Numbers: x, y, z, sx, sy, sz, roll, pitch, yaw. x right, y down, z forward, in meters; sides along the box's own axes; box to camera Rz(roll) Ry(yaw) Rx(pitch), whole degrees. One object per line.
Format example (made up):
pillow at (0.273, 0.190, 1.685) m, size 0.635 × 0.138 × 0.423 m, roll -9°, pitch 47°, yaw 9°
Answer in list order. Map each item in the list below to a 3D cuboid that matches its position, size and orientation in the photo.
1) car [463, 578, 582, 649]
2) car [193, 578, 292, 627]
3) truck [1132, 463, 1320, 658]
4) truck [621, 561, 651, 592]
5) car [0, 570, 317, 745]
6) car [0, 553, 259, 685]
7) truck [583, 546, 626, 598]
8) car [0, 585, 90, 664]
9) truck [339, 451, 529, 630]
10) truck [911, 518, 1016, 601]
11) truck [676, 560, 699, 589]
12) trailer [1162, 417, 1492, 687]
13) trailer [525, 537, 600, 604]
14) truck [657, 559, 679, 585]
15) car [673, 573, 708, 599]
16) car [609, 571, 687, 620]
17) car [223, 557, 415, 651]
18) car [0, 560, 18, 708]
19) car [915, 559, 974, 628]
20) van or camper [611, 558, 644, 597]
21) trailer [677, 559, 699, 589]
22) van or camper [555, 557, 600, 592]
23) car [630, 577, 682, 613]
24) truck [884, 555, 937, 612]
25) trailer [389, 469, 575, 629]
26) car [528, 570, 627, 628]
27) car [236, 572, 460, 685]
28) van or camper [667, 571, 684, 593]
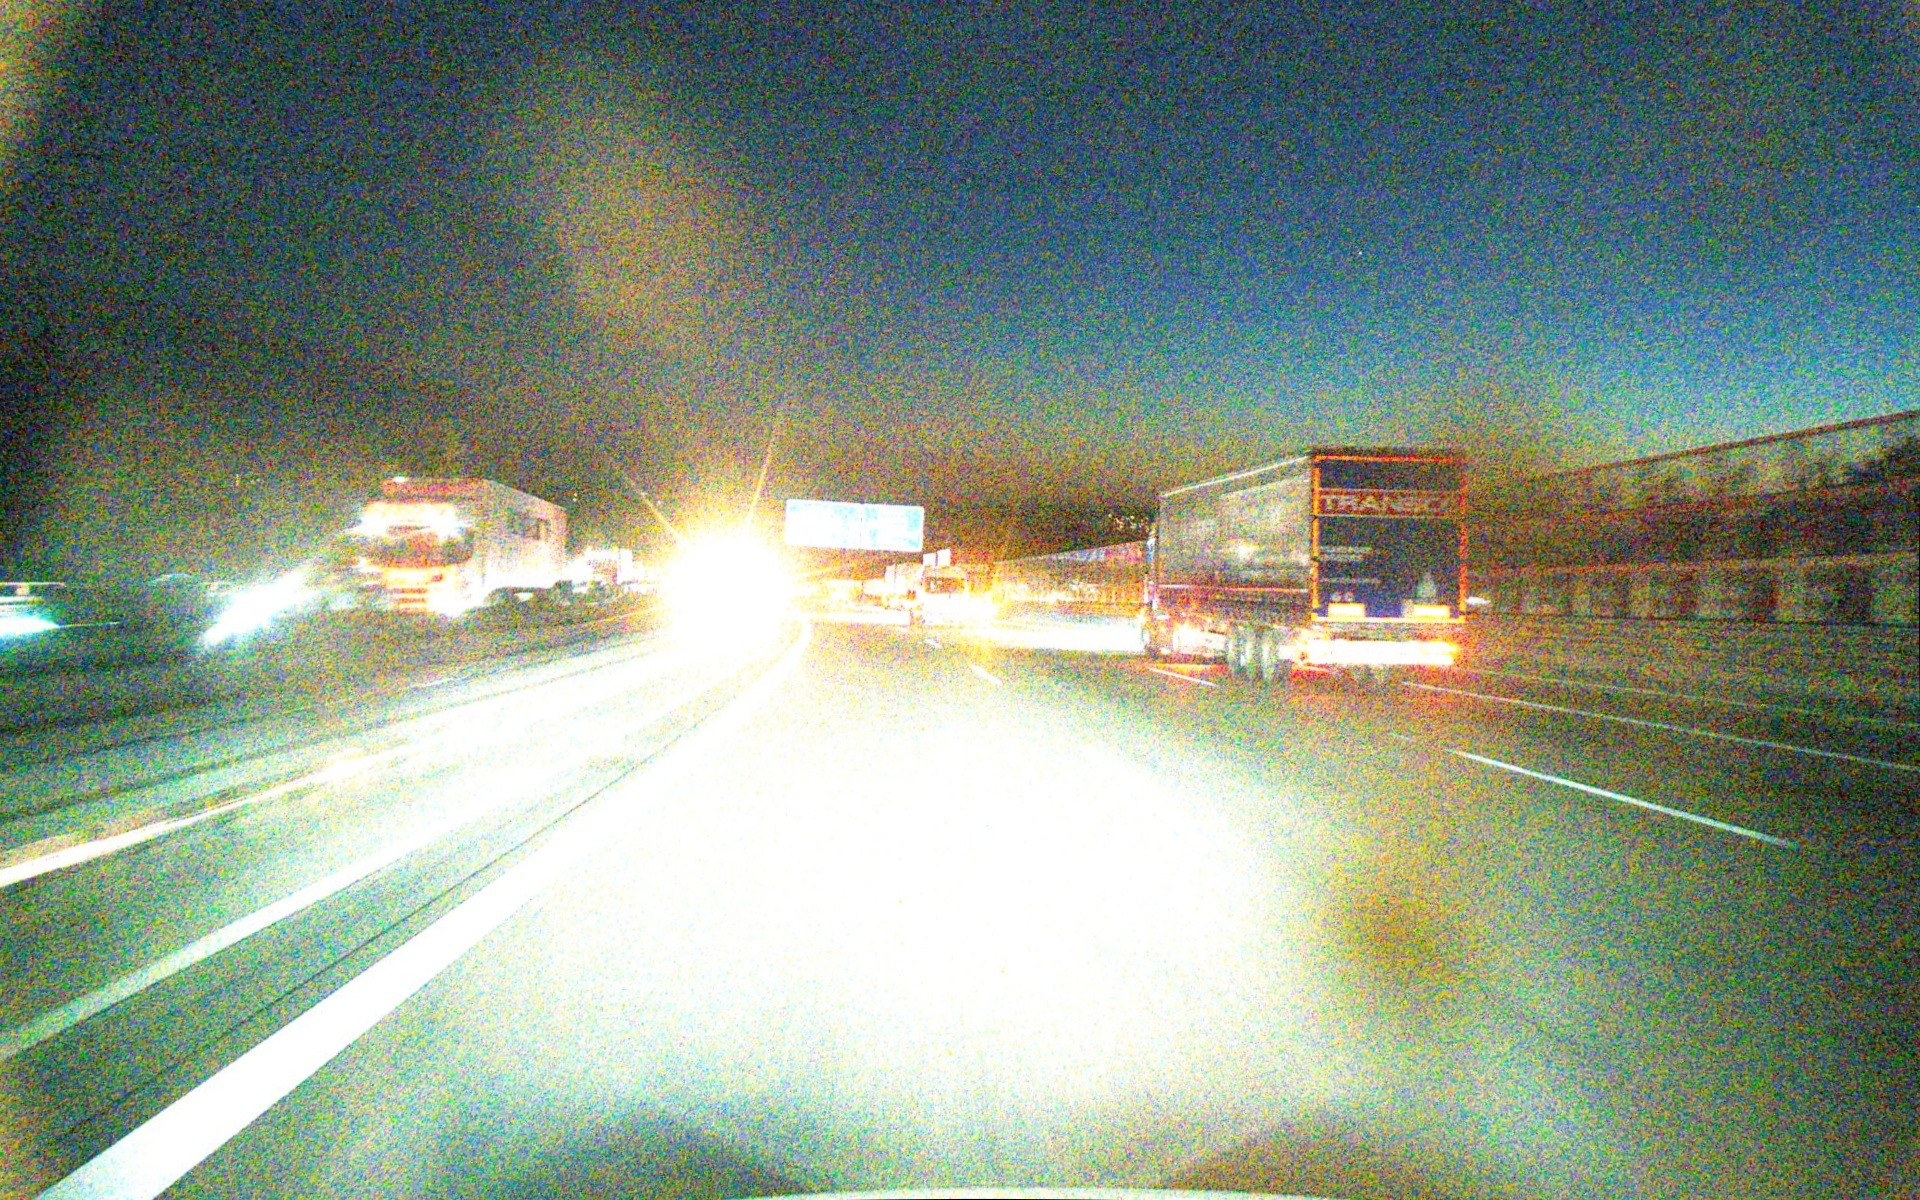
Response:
car at (-9.481, 0.257, 36.181) m, size 1.669 × 1.451 × 4.509 m, roll 0°, pitch 0°, yaw -4°
car at (-22.706, 0.066, 52.470) m, size 1.620 × 1.503 × 3.773 m, roll 1°, pitch 0°, yaw -3°
truck at (6.106, -0.868, 39.258) m, size 2.805 × 4.148 × 7.505 m, roll 1°, pitch 0°, yaw -3°
truck at (-34.099, -2.437, 174.261) m, size 2.508 × 3.038 × 7.438 m, roll 2°, pitch -1°, yaw -8°
car at (-8.072, 0.469, 16.255) m, size 1.874 × 1.468 × 4.647 m, roll 0°, pitch 0°, yaw -3°
car at (-12.883, 0.255, 25.673) m, size 1.953 × 1.842 × 4.748 m, roll 0°, pitch 0°, yaw 0°
truck at (-26.033, -2.030, 121.285) m, size 2.358 × 3.575 × 6.713 m, roll 3°, pitch 0°, yaw -7°
car at (-20.425, 0.491, 35.416) m, size 1.191 × 1.624 × 4.513 m, roll 0°, pitch 1°, yaw 0°
truck at (-13.814, -1.422, 44.114) m, size 3.048 × 4.168 × 7.068 m, roll 4°, pitch -1°, yaw -5°
truck at (-0.087, -2.301, 105.703) m, size 3.842 × 4.708 × 20.979 m, roll 0°, pitch 0°, yaw -8°
truck at (-38.031, -3.560, 231.041) m, size 2.821 × 3.737 × 6.766 m, roll 4°, pitch -1°, yaw -9°
trailer at (6.497, -0.791, 32.181) m, size 2.797 × 4.138 × 13.197 m, roll 1°, pitch 0°, yaw -3°
trailer at (-21.828, -1.539, 91.259) m, size 2.556 × 3.231 × 8.993 m, roll 4°, pitch -1°, yaw -5°
truck at (-43.798, -4.197, 247.915) m, size 2.825 × 3.737 × 6.031 m, roll 3°, pitch 0°, yaw -13°
car at (-15.221, -0.779, 93.541) m, size 1.539 × 1.378 × 3.997 m, roll 2°, pitch 0°, yaw -3°
car at (-10.736, -0.156, 57.185) m, size 1.837 × 1.450 × 4.511 m, roll 6°, pitch 0°, yaw -2°
car at (-13.582, 0.055, 35.464) m, size 1.953 × 1.842 × 5.486 m, roll 0°, pitch 0°, yaw 0°
car at (-12.291, 0.408, 17.674) m, size 1.908 × 1.766 × 4.746 m, roll 0°, pitch 0°, yaw -3°
car at (-0.696, -0.220, 69.909) m, size 2.290 × 2.686 × 5.245 m, roll 2°, pitch -1°, yaw -1°
van or camper at (-30.399, -2.032, 151.278) m, size 2.387 × 3.329 × 7.381 m, roll 2°, pitch 0°, yaw -8°
trailer at (-38.944, -3.670, 237.330) m, size 2.833 × 3.735 × 12.190 m, roll 4°, pitch -1°, yaw -9°
van or camper at (-23.761, -1.558, 103.056) m, size 2.147 × 2.049 × 7.626 m, roll 2°, pitch 0°, yaw -9°
car at (-12.338, -0.198, 67.379) m, size 1.539 × 1.378 × 3.997 m, roll 2°, pitch 0°, yaw -3°
truck at (-4.484, -1.489, 145.481) m, size 3.281 × 4.553 × 13.890 m, roll 3°, pitch 0°, yaw -6°
trailer at (-14.528, -1.324, 51.501) m, size 3.031 × 4.159 × 12.434 m, roll 4°, pitch -1°, yaw -5°
car at (-10.842, -0.051, 47.137) m, size 1.806 × 1.451 × 4.511 m, roll 4°, pitch 0°, yaw -2°
car at (-9.324, 0.394, 25.609) m, size 1.796 × 1.580 × 4.512 m, roll 0°, pitch 0°, yaw 0°
van or camper at (-36.117, -2.314, 210.113) m, size 2.046 × 2.678 × 7.587 m, roll 2°, pitch 0°, yaw -10°
